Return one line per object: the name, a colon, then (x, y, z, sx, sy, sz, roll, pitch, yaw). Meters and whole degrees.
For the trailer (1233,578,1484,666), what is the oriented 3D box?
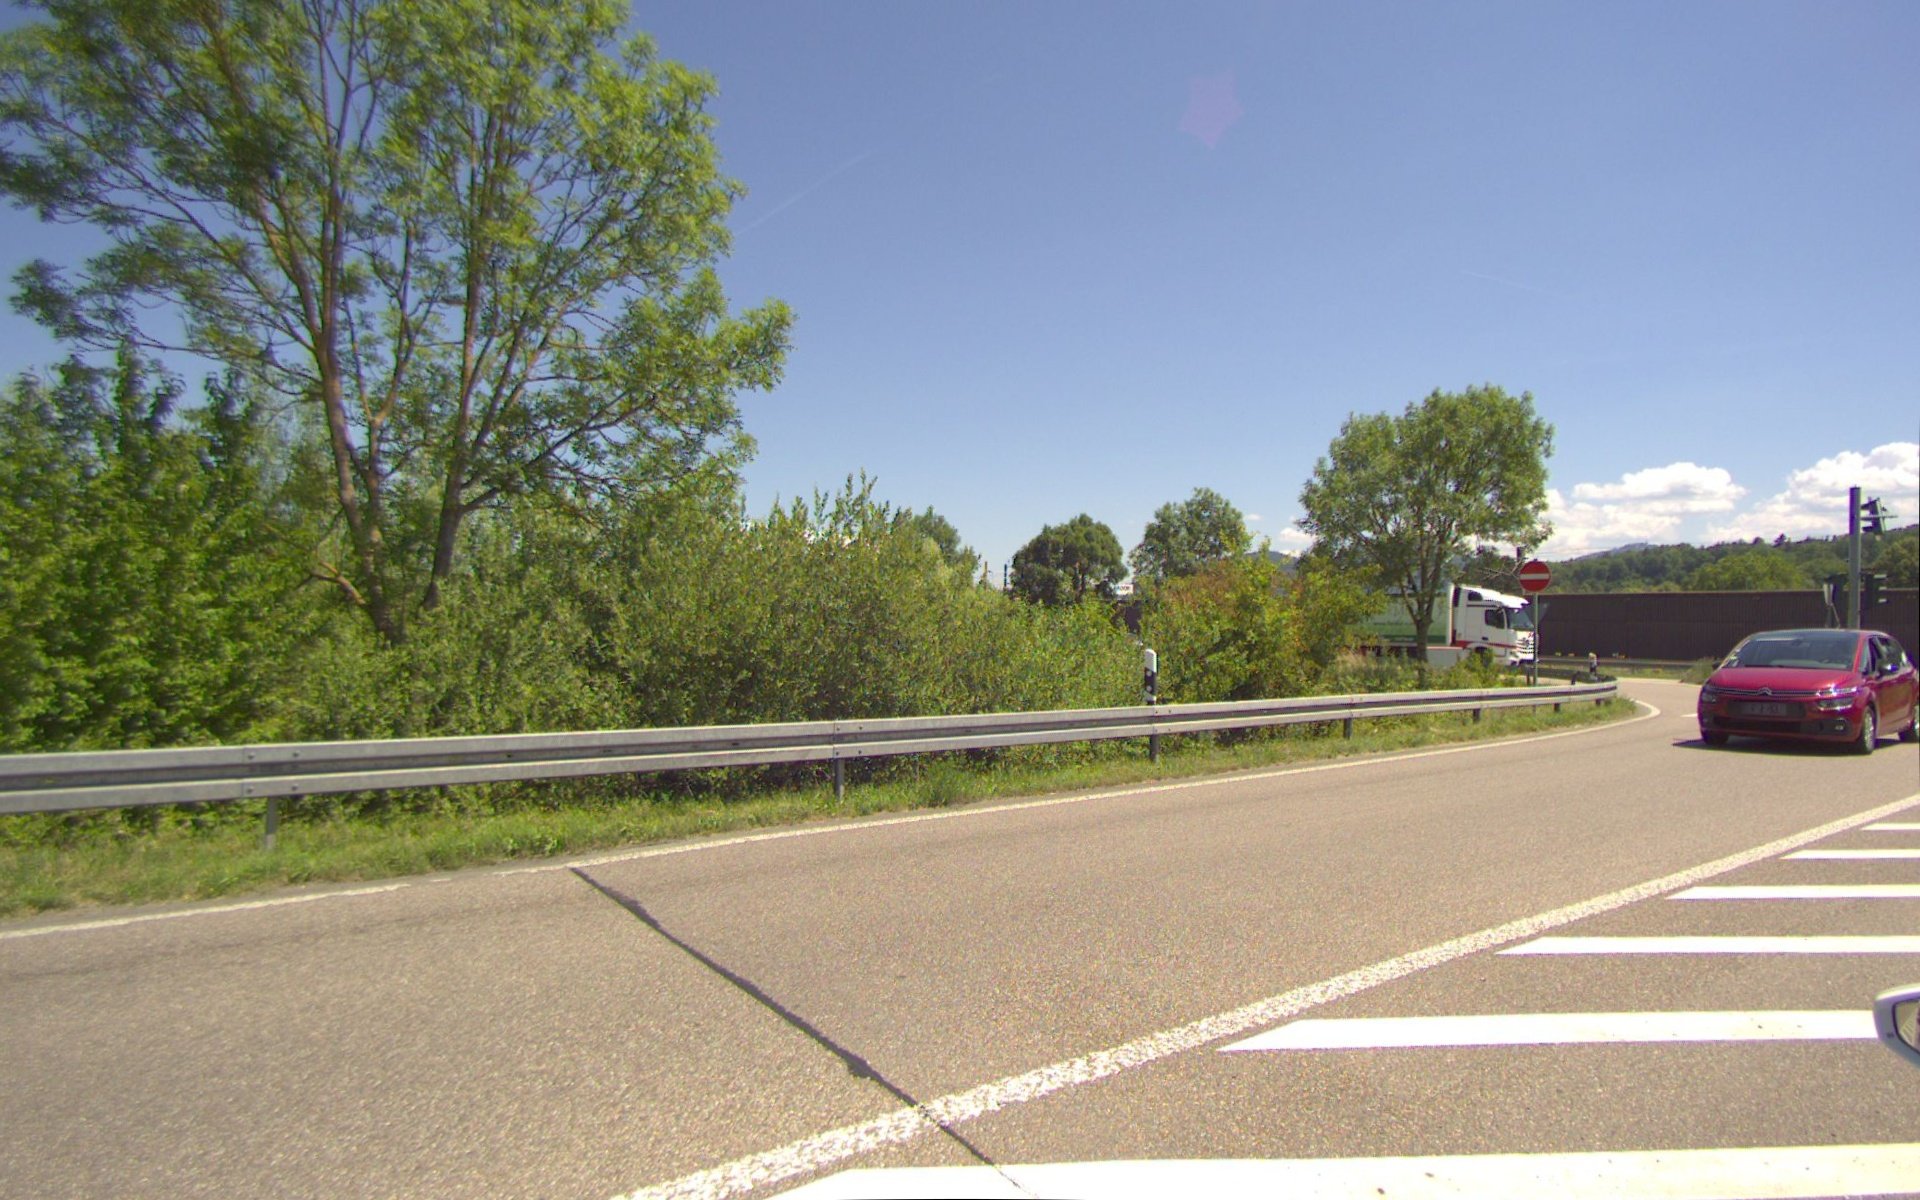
trailer: (20.214, 1.067, 52.482, 3.027, 4.007, 13.074, 2, -1, -31)

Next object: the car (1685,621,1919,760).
car: (12.130, 1.206, 14.330, 4.170, 1.708, 1.724, 2, -3, -37)

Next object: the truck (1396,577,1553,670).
truck: (23.730, 1.066, 46.537, 3.027, 4.007, 5.736, 2, -1, -31)
